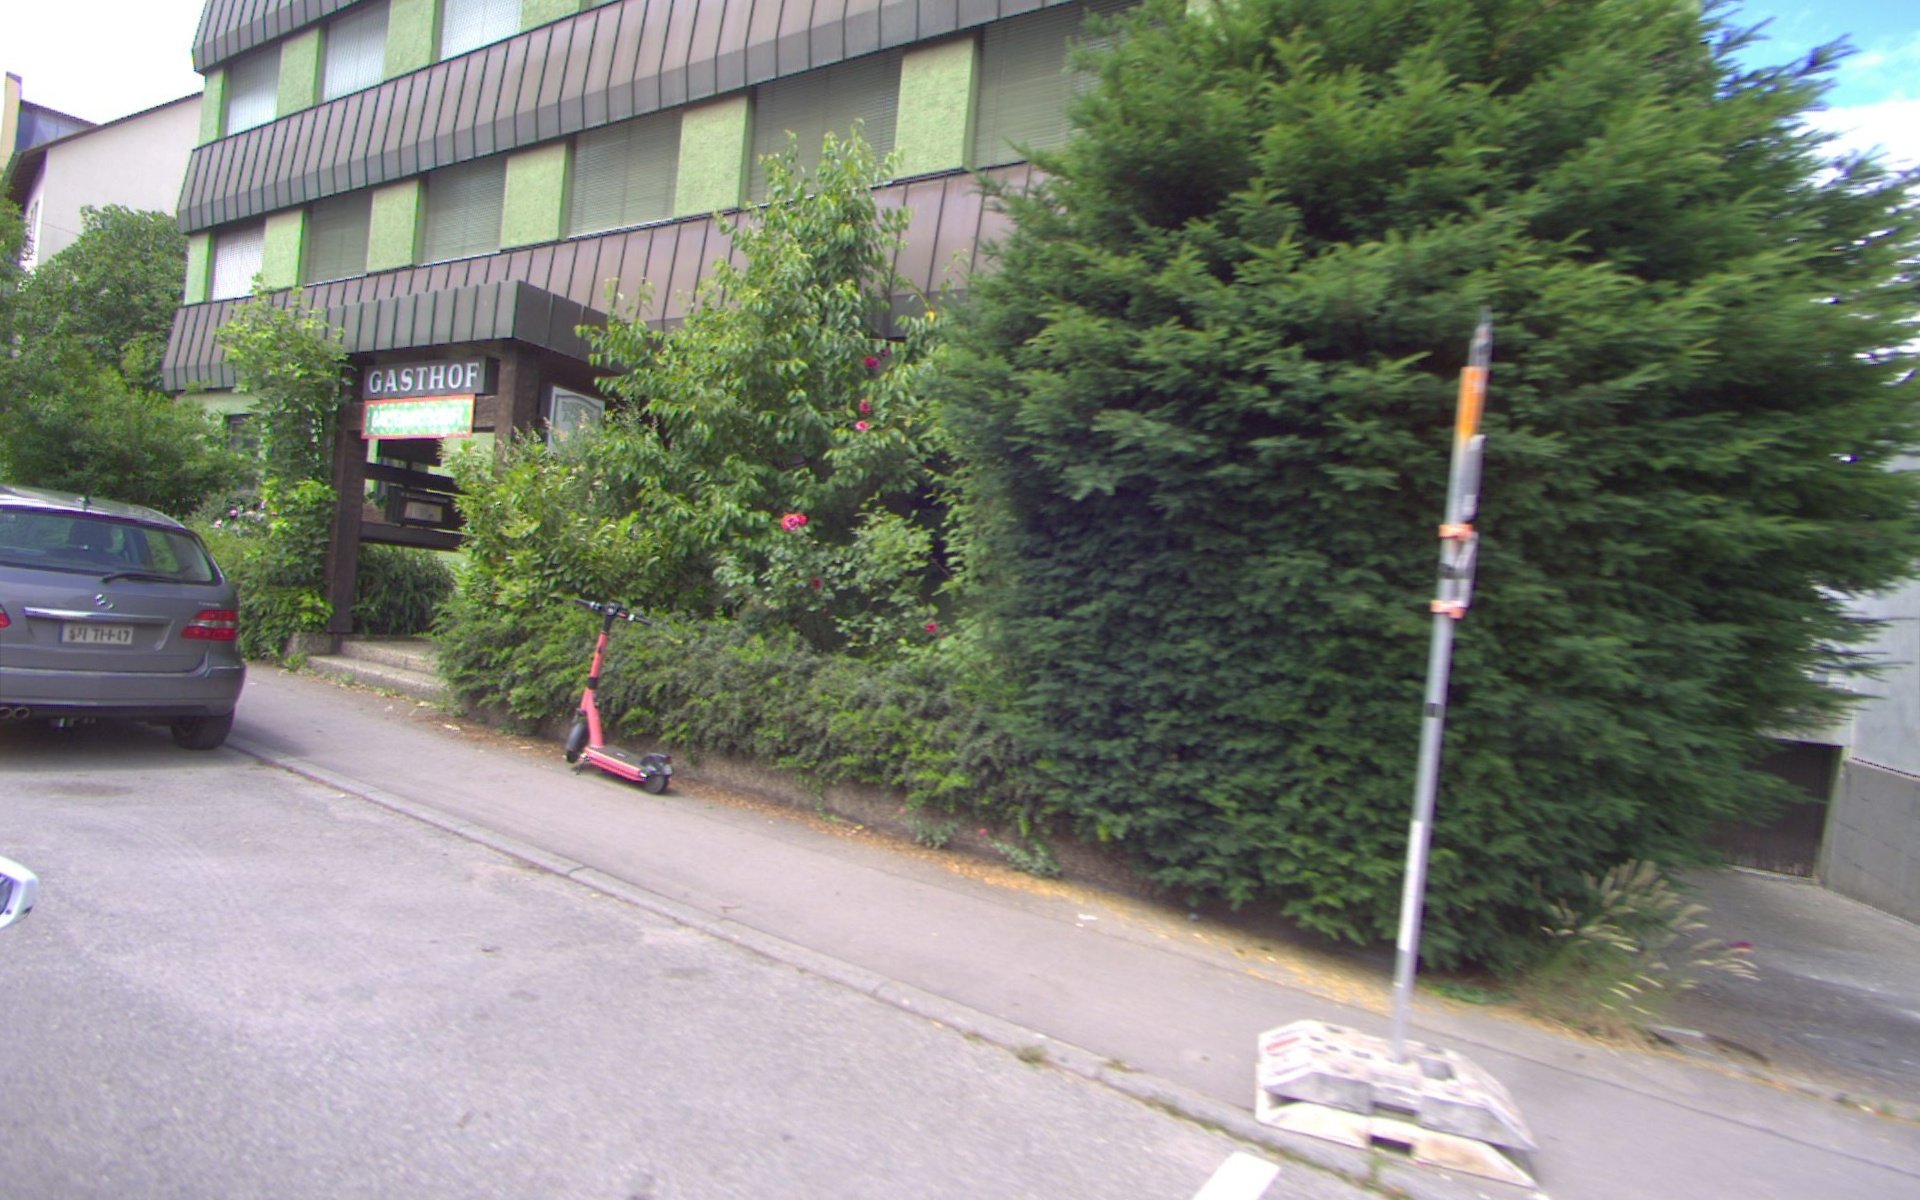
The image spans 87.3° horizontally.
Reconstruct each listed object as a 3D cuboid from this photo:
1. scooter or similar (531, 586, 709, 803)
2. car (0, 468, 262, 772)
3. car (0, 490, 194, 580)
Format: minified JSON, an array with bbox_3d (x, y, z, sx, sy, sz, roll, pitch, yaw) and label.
[{"bbox_3d":[-2.439,0.629,7.149,1.381,1.322,0.301,7,3,32],"label":"scooter or similar"},{"bbox_3d":[-6.918,-0.077,7.075,4.390,1.687,1.691,7,0,34],"label":"car"},{"bbox_3d":[-22.836,-1.688,25.815,1.785,1.646,4.669,5,-3,41],"label":"car"}]
